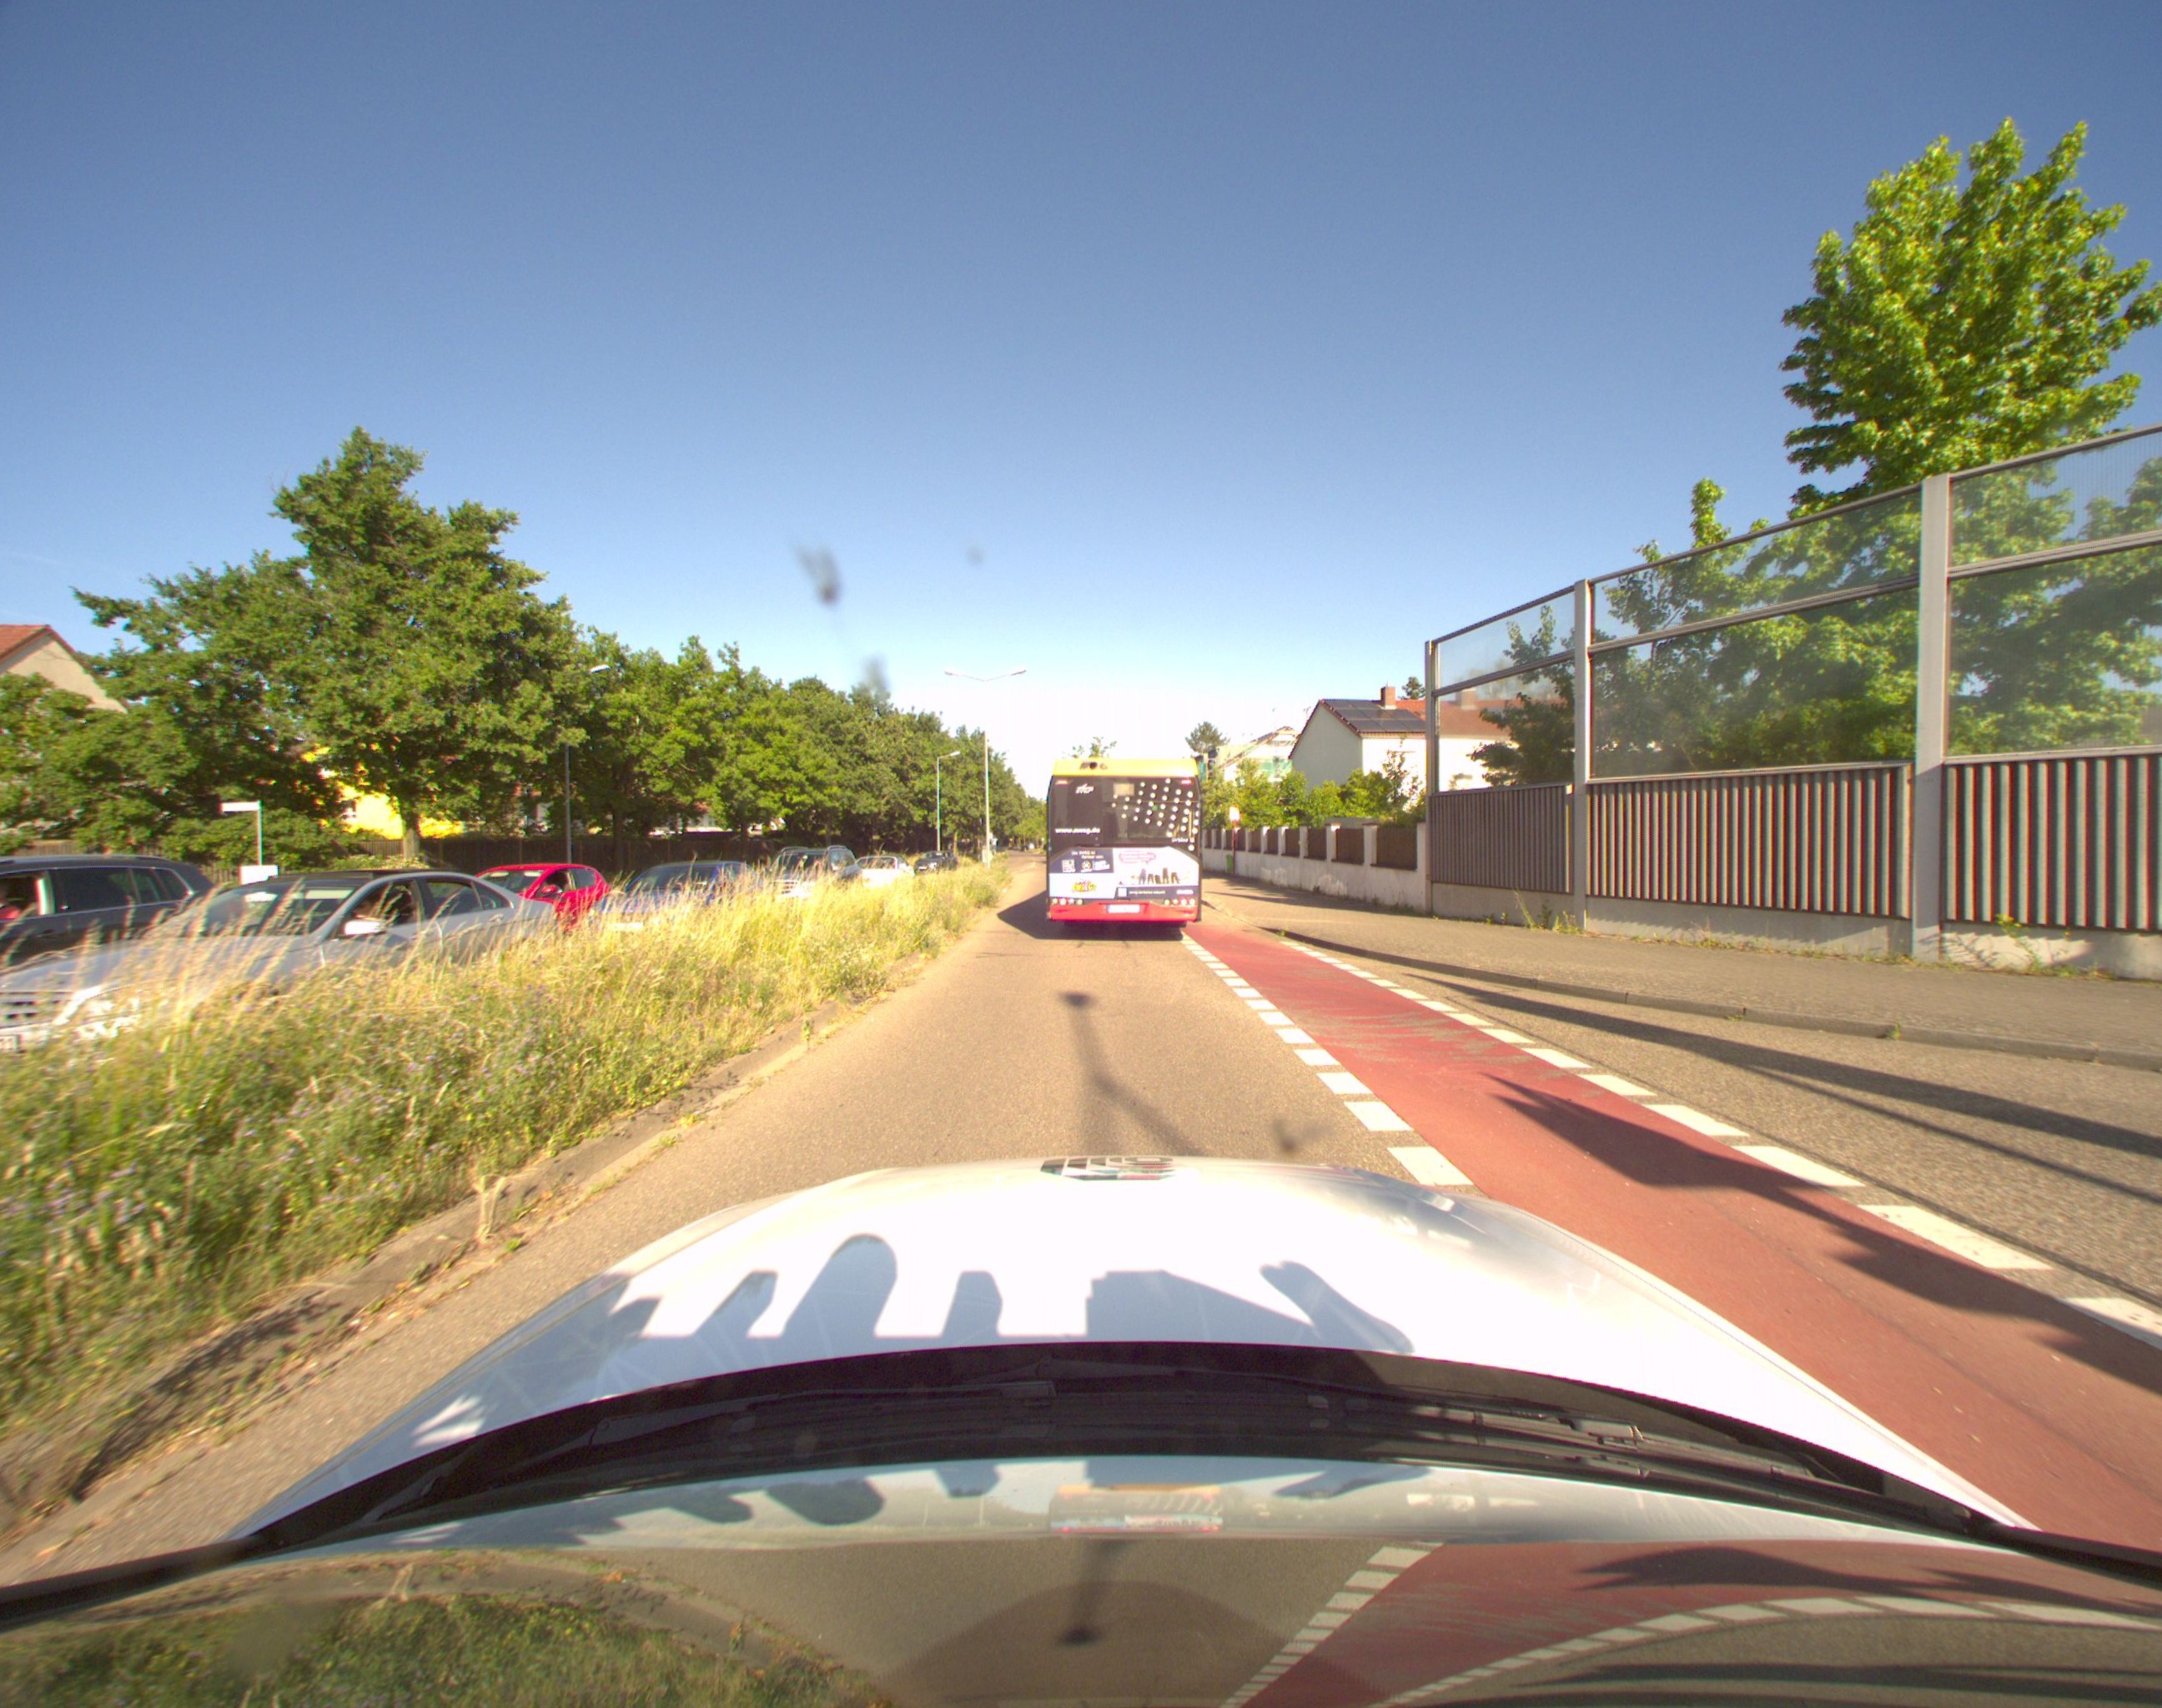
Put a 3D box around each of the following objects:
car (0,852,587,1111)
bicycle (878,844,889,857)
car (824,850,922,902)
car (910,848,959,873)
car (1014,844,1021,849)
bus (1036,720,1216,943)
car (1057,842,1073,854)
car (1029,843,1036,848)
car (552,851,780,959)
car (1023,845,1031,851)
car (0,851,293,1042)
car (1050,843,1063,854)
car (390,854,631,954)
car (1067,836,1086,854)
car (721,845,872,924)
[{"bbox_3d":[-6.773,0.799,7.305,1.787,1.506,4.532,-1,1,1],"label":"car"},{"bbox_3d":[-16.630,-0.291,68.671,0.504,1.053,1.878,-1,1,-2],"label":"bicycle"},{"bbox_3d":[-6.615,0.652,26.424,1.987,1.450,4.400,-1,1,1],"label":"car"},{"bbox_3d":[-8.999,0.375,50.340,1.699,1.430,4.011,-2,1,9],"label":"car"},{"bbox_3d":[-17.922,-2.122,230.500,1.931,1.454,3.991,-1,1,-6],"label":"car"},{"bbox_3d":[0.915,-0.370,19.106,2.747,3.458,12.403,-2,0,2],"label":"bus"},{"bbox_3d":[-2.244,-0.831,114.433,1.933,1.704,3.993,-1,1,-5],"label":"car"},{"bbox_3d":[-13.754,-2.435,231.329,1.931,1.454,3.991,-1,1,-6],"label":"car"},{"bbox_3d":[-6.748,0.732,13.763,1.740,1.483,3.889,-1,1,1],"label":"car"},{"bbox_3d":[-13.672,-1.558,205.285,1.930,1.542,3.993,-1,1,-5],"label":"car"},{"bbox_3d":[-10.553,0.856,7.534,1.986,1.643,4.532,-1,1,1],"label":"car"},{"bbox_3d":[-4.197,-0.963,136.699,1.930,1.742,3.993,-1,1,-5],"label":"car"},{"bbox_3d":[-10.060,0.794,14.754,1.639,1.483,3.715,-1,1,1],"label":"car"},{"bbox_3d":[-0.571,-1.031,94.418,1.833,1.971,4.750,-1,1,-5],"label":"car"},{"bbox_3d":[-6.717,0.629,19.838,1.987,1.616,4.531,-1,1,1],"label":"car"}]
